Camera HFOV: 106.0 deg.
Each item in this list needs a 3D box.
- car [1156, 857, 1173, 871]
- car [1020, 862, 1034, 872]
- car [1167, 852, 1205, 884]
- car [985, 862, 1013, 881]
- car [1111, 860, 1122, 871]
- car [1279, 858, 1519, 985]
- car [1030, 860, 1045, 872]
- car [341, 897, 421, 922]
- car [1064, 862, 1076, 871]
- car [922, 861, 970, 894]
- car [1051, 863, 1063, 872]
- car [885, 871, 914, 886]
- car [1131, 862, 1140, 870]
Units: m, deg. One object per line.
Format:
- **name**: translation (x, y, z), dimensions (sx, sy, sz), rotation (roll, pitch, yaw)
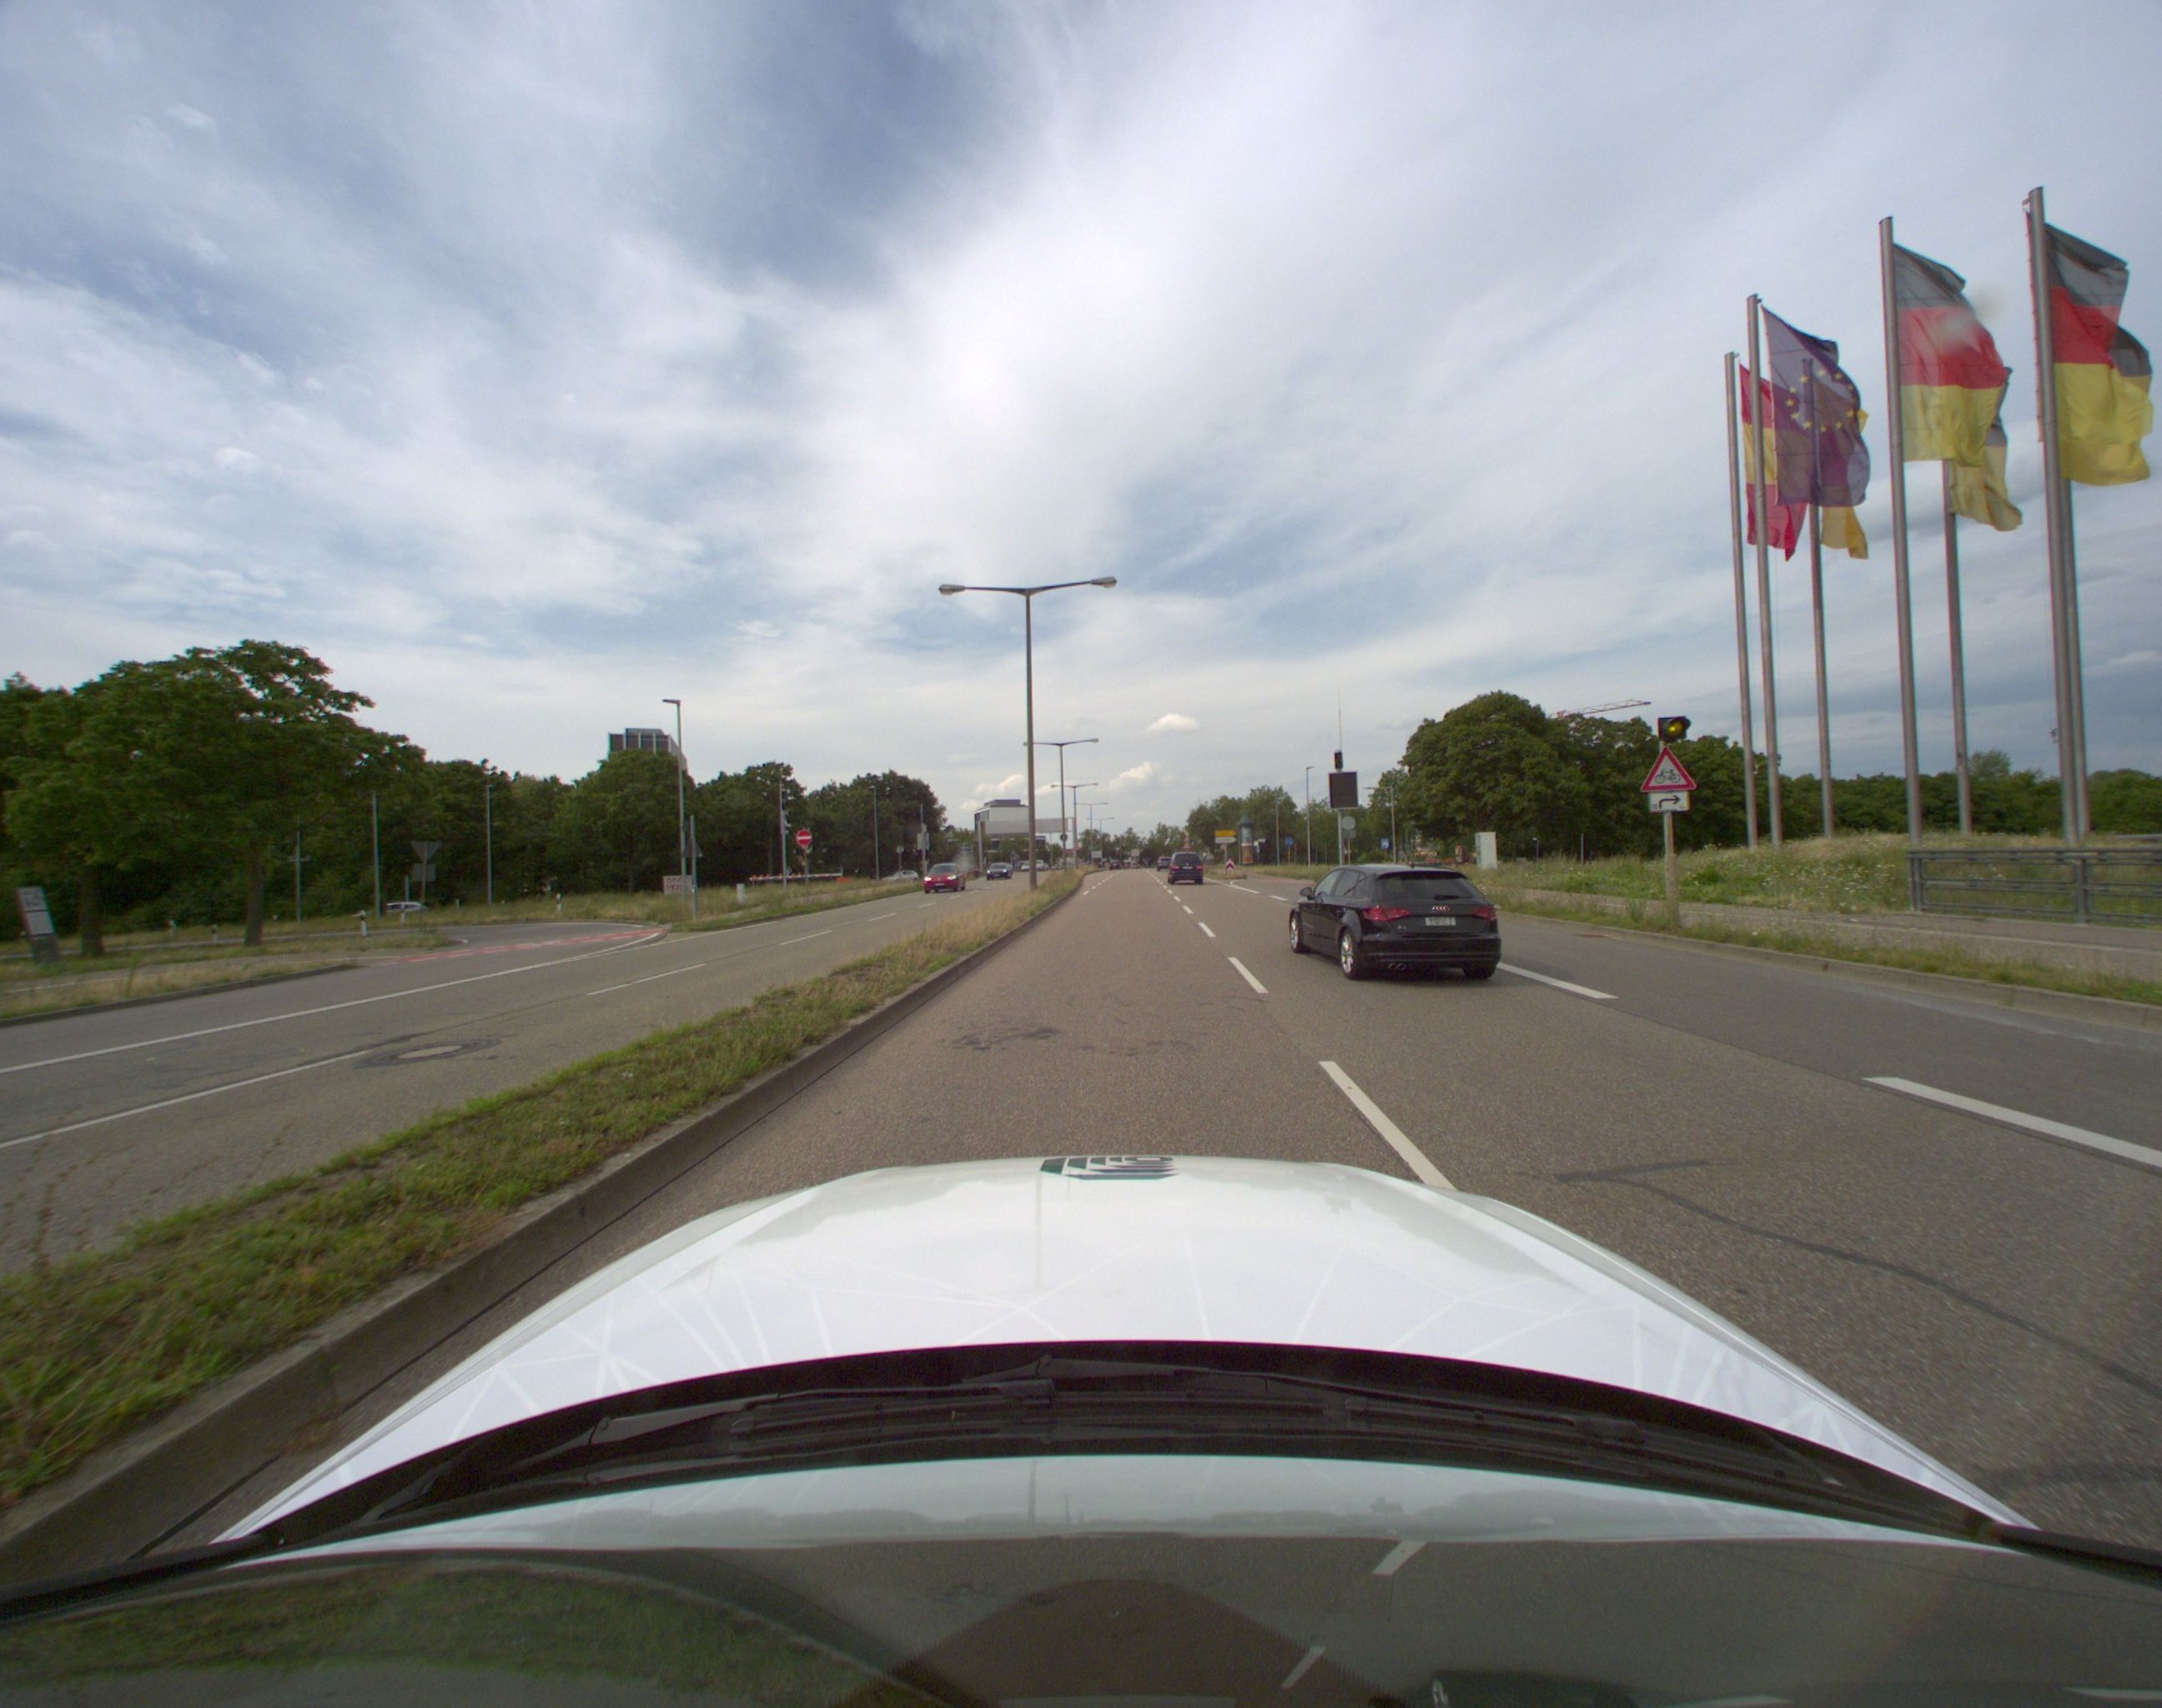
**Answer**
- **car**: translation (9.756, 1.168, 95.462), dimensions (1.723, 1.653, 4.117), rotation (-1, -1, 3)
- **car**: translation (-8.721, 2.110, 131.541), dimensions (1.658, 1.419, 4.097), rotation (-3, 1, 4)
- **car**: translation (5.713, 0.739, 44.691), dimensions (1.723, 1.653, 4.117), rotation (-1, -1, 3)
- **car**: translation (-7.054, 1.461, 70.670), dimensions (1.739, 1.475, 4.566), rotation (-3, 0, 2)
- **car**: translation (5.601, 1.815, 127.902), dimensions (1.723, 1.653, 4.117), rotation (-1, -1, 3)
- **car**: translation (4.047, 0.769, 11.144), dimensions (1.725, 1.395, 4.115), rotation (0, -1, 1)
- **car**: translation (-6.354, 1.776, 119.611), dimensions (1.739, 1.598, 4.565), rotation (-3, 0, 1)
- **car**: translation (-49.239, 3.876, 57.348), dimensions (3.875, 1.396, 1.565), rotation (-3, 0, -17)
- **car**: translation (-1.991, 2.283, 148.185), dimensions (1.657, 1.425, 4.526), rotation (-4, -2, 6)
- **car**: translation (-7.330, 1.242, 44.603), dimensions (1.645, 1.574, 4.340), rotation (-4, 0, 2)
- **car**: translation (-4.767, 2.721, 162.332), dimensions (1.785, 1.525, 4.598), rotation (-4, -2, 3)
- **car**: translation (-16.756, 2.255, 75.393), dimensions (1.258, 1.273, 3.022), rotation (-3, 0, 17)
- **car**: translation (11.217, 2.457, 167.735), dimensions (1.723, 1.526, 4.118), rotation (-1, -1, 3)
